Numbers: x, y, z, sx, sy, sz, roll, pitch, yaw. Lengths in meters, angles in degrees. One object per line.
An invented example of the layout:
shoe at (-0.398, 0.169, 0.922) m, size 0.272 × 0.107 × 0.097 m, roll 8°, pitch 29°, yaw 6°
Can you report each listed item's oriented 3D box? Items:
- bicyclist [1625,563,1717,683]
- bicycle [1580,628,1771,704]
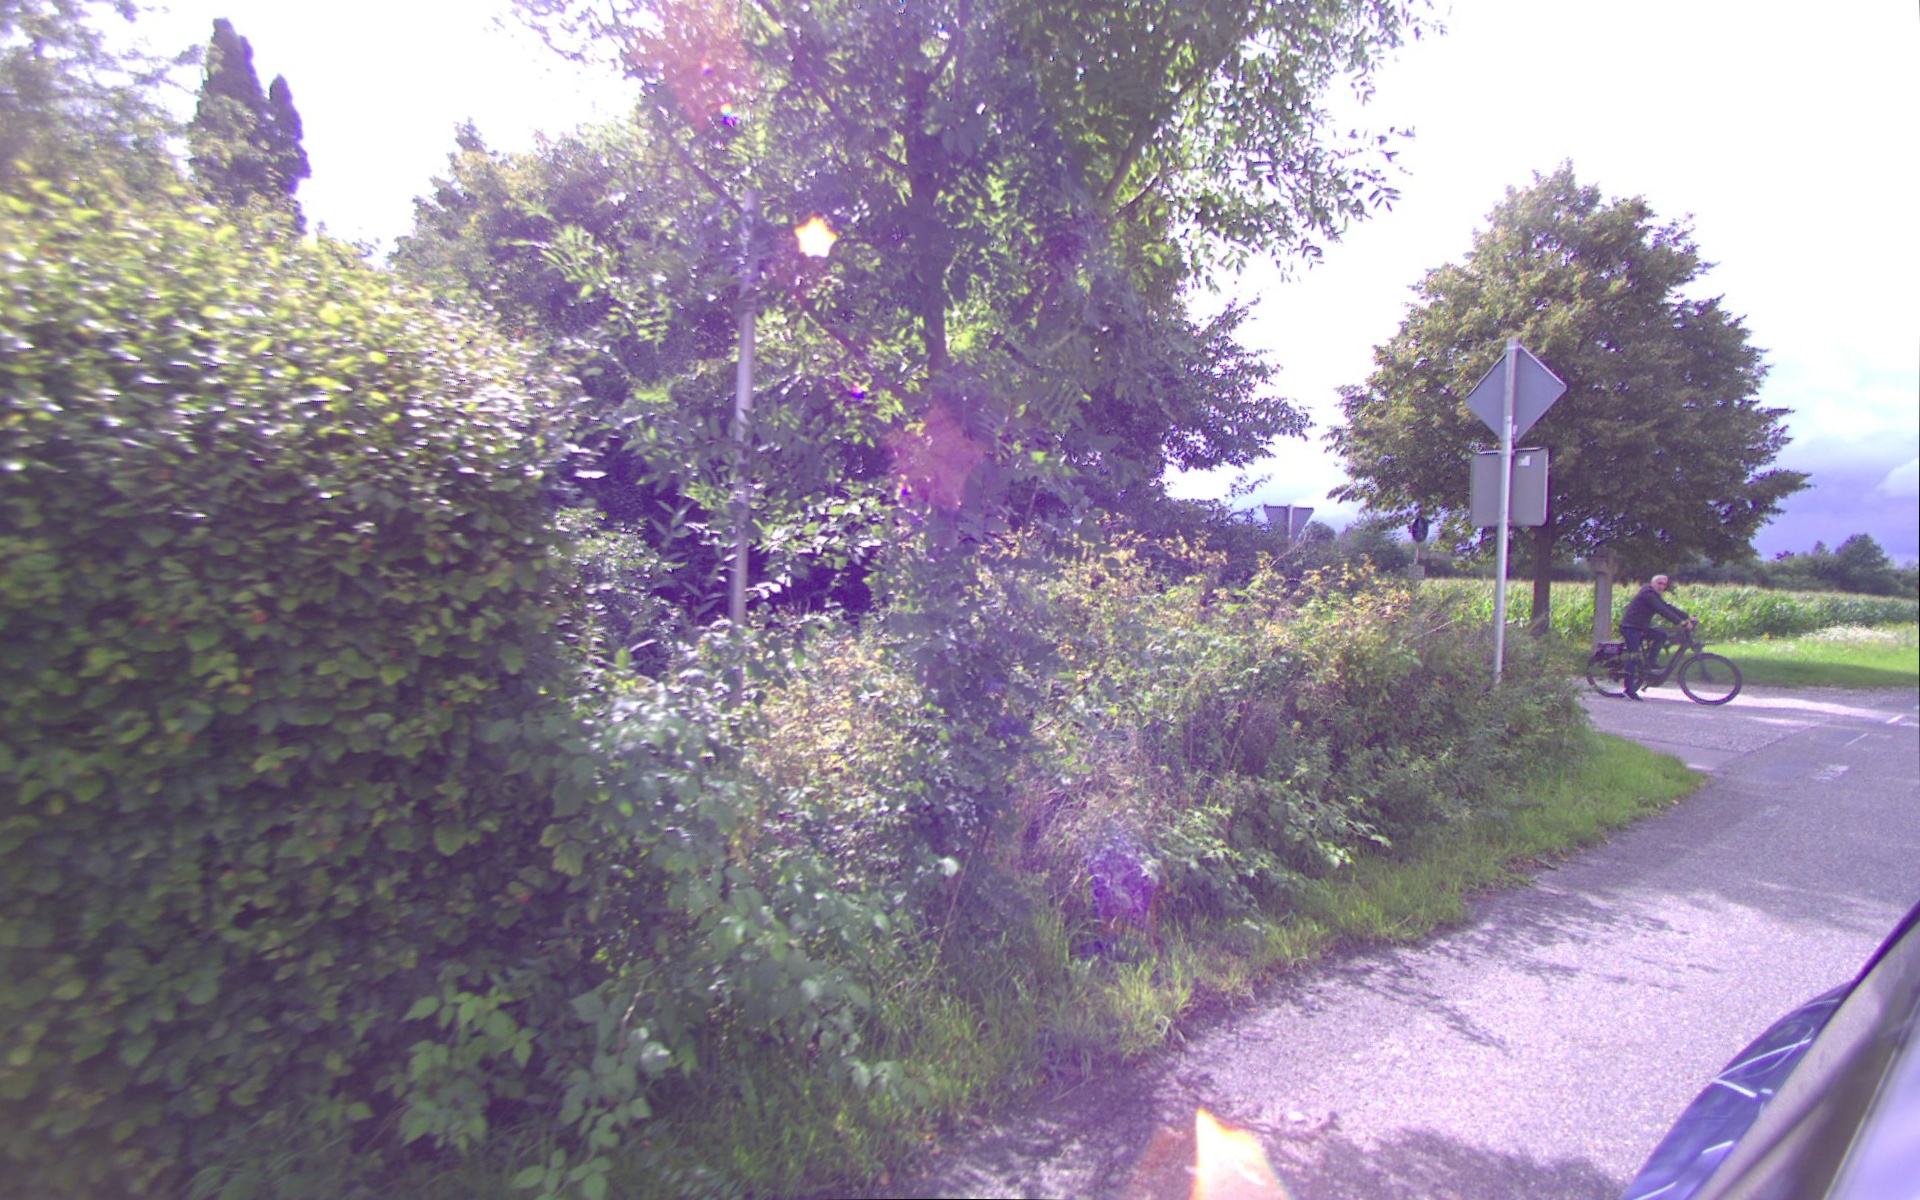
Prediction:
bicyclist at (10.004, 0.303, 14.265) m, size 1.014 × 1.605 × 1.040 m, roll 1°, pitch 0°, yaw 35°
bicycle at (10.013, 0.886, 14.249) m, size 2.109 × 0.875 × 1.040 m, roll 2°, pitch 1°, yaw 36°
